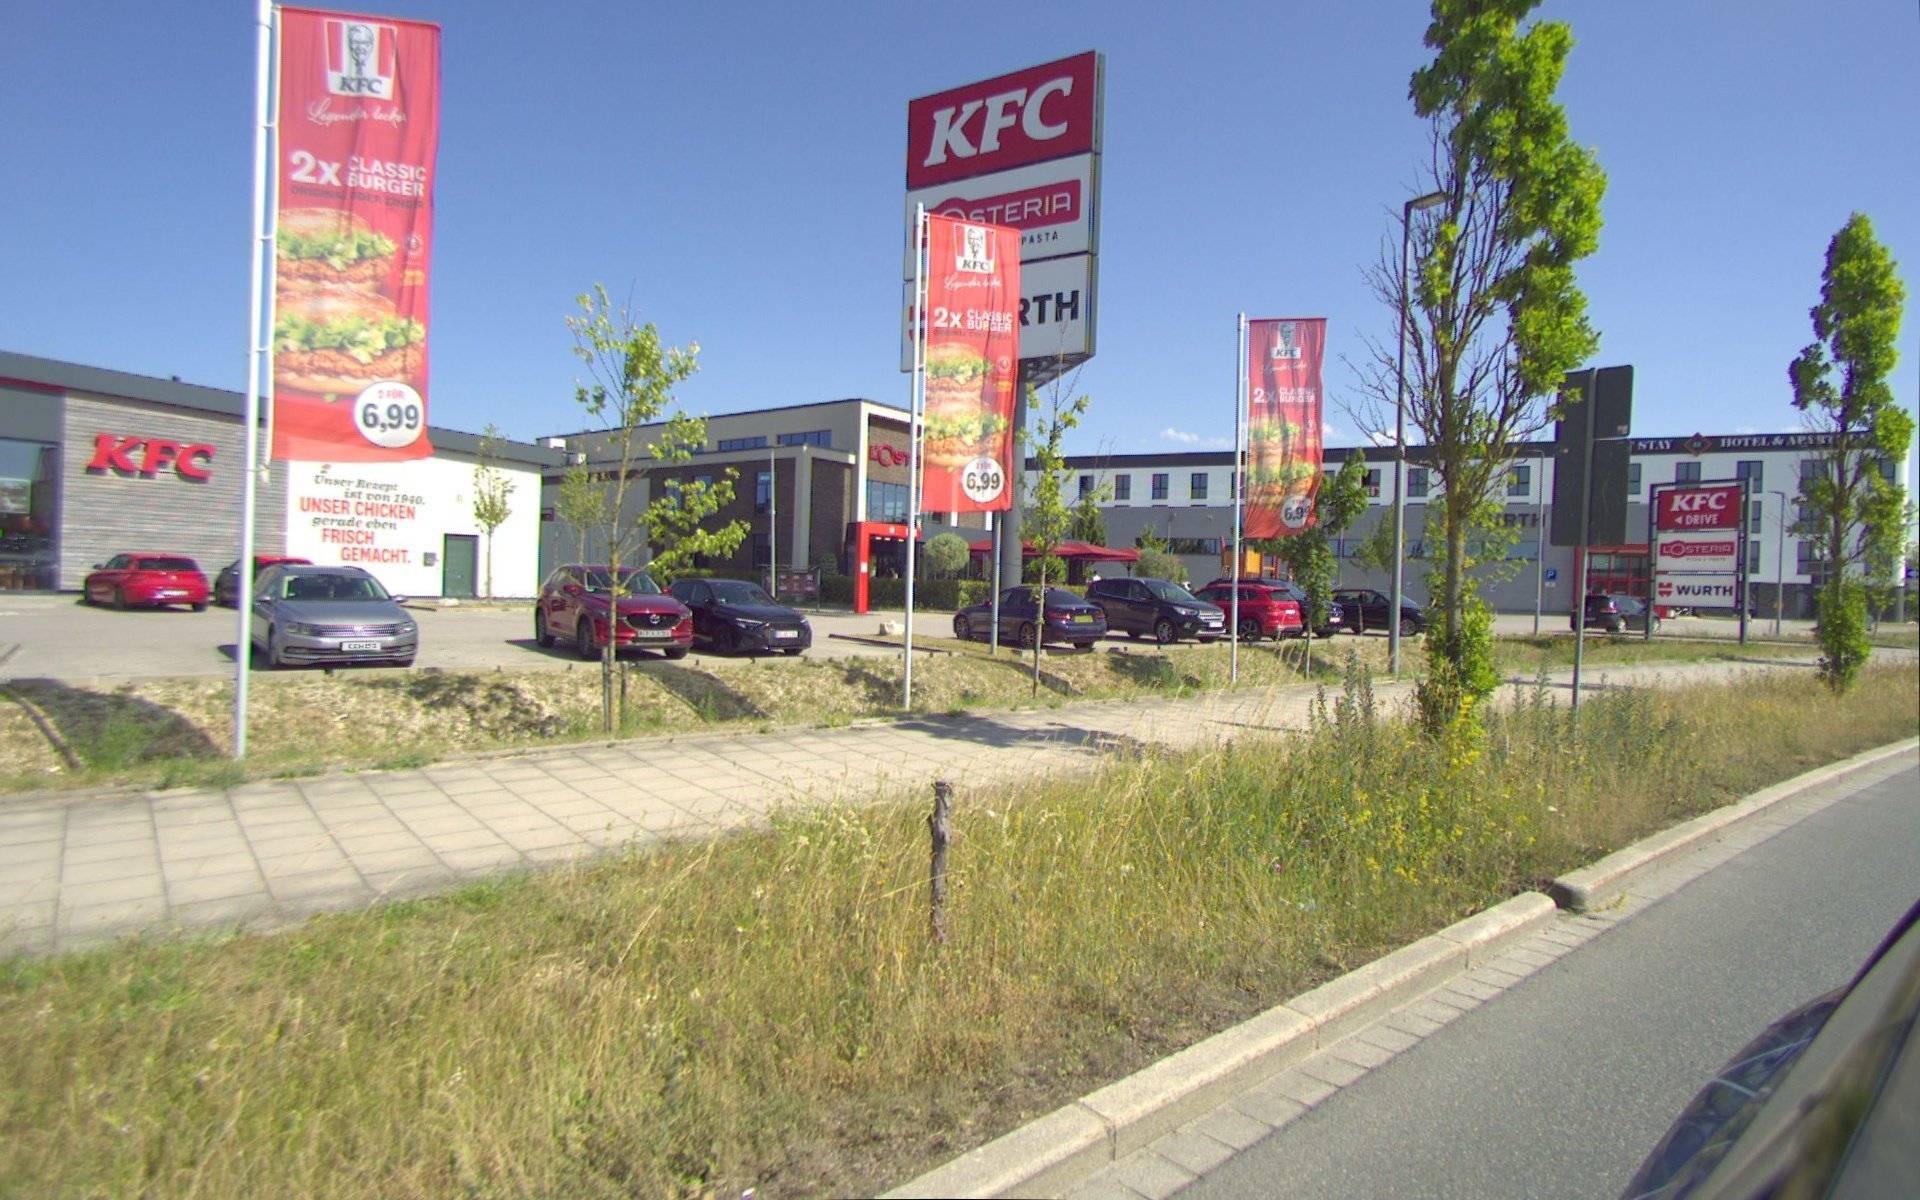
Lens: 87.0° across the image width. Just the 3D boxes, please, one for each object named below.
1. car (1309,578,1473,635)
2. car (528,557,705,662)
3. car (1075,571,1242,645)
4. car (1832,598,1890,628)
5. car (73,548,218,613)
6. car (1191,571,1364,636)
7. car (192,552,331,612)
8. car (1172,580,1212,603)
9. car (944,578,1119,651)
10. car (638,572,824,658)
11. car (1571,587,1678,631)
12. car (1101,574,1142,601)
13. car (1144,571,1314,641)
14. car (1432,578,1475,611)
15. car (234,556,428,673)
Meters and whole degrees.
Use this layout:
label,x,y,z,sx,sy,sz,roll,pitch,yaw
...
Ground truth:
label,x,y,z,sx,sy,sz,roll,pitch,yaw
car,13.761,0.178,32.529,1.957,1.586,4.420,1,2,-36
car,-6.471,0.100,18.800,1.834,1.686,4.166,1,2,-38
car,5.254,0.165,27.367,1.757,1.756,4.423,1,1,-34
car,45.840,0.679,51.465,3.926,1.425,1.517,1,1,-38
car,-20.764,-0.511,25.739,4.546,1.449,1.843,3,2,38
car,9.816,0.061,31.675,1.903,1.756,4.998,1,2,-36
car,-19.327,-0.513,27.940,4.546,1.449,1.843,3,2,38
car,15.769,-0.583,68.693,1.685,1.480,4.070,2,1,27
car,1.605,0.289,24.340,1.757,1.467,4.421,1,2,-35
car,-4.700,0.237,20.427,1.761,1.467,4.158,1,2,-44
car,25.447,0.344,38.735,4.086,1.559,1.788,1,1,-31
car,11.511,-0.880,71.958,1.685,1.779,4.070,2,1,27
car,7.621,0.118,28.989,1.761,1.756,4.412,1,2,-43
car,29.436,-0.314,60.294,2.031,1.838,4.874,2,1,28
car,-9.971,0.132,15.876,1.836,1.509,4.564,1,2,-41
